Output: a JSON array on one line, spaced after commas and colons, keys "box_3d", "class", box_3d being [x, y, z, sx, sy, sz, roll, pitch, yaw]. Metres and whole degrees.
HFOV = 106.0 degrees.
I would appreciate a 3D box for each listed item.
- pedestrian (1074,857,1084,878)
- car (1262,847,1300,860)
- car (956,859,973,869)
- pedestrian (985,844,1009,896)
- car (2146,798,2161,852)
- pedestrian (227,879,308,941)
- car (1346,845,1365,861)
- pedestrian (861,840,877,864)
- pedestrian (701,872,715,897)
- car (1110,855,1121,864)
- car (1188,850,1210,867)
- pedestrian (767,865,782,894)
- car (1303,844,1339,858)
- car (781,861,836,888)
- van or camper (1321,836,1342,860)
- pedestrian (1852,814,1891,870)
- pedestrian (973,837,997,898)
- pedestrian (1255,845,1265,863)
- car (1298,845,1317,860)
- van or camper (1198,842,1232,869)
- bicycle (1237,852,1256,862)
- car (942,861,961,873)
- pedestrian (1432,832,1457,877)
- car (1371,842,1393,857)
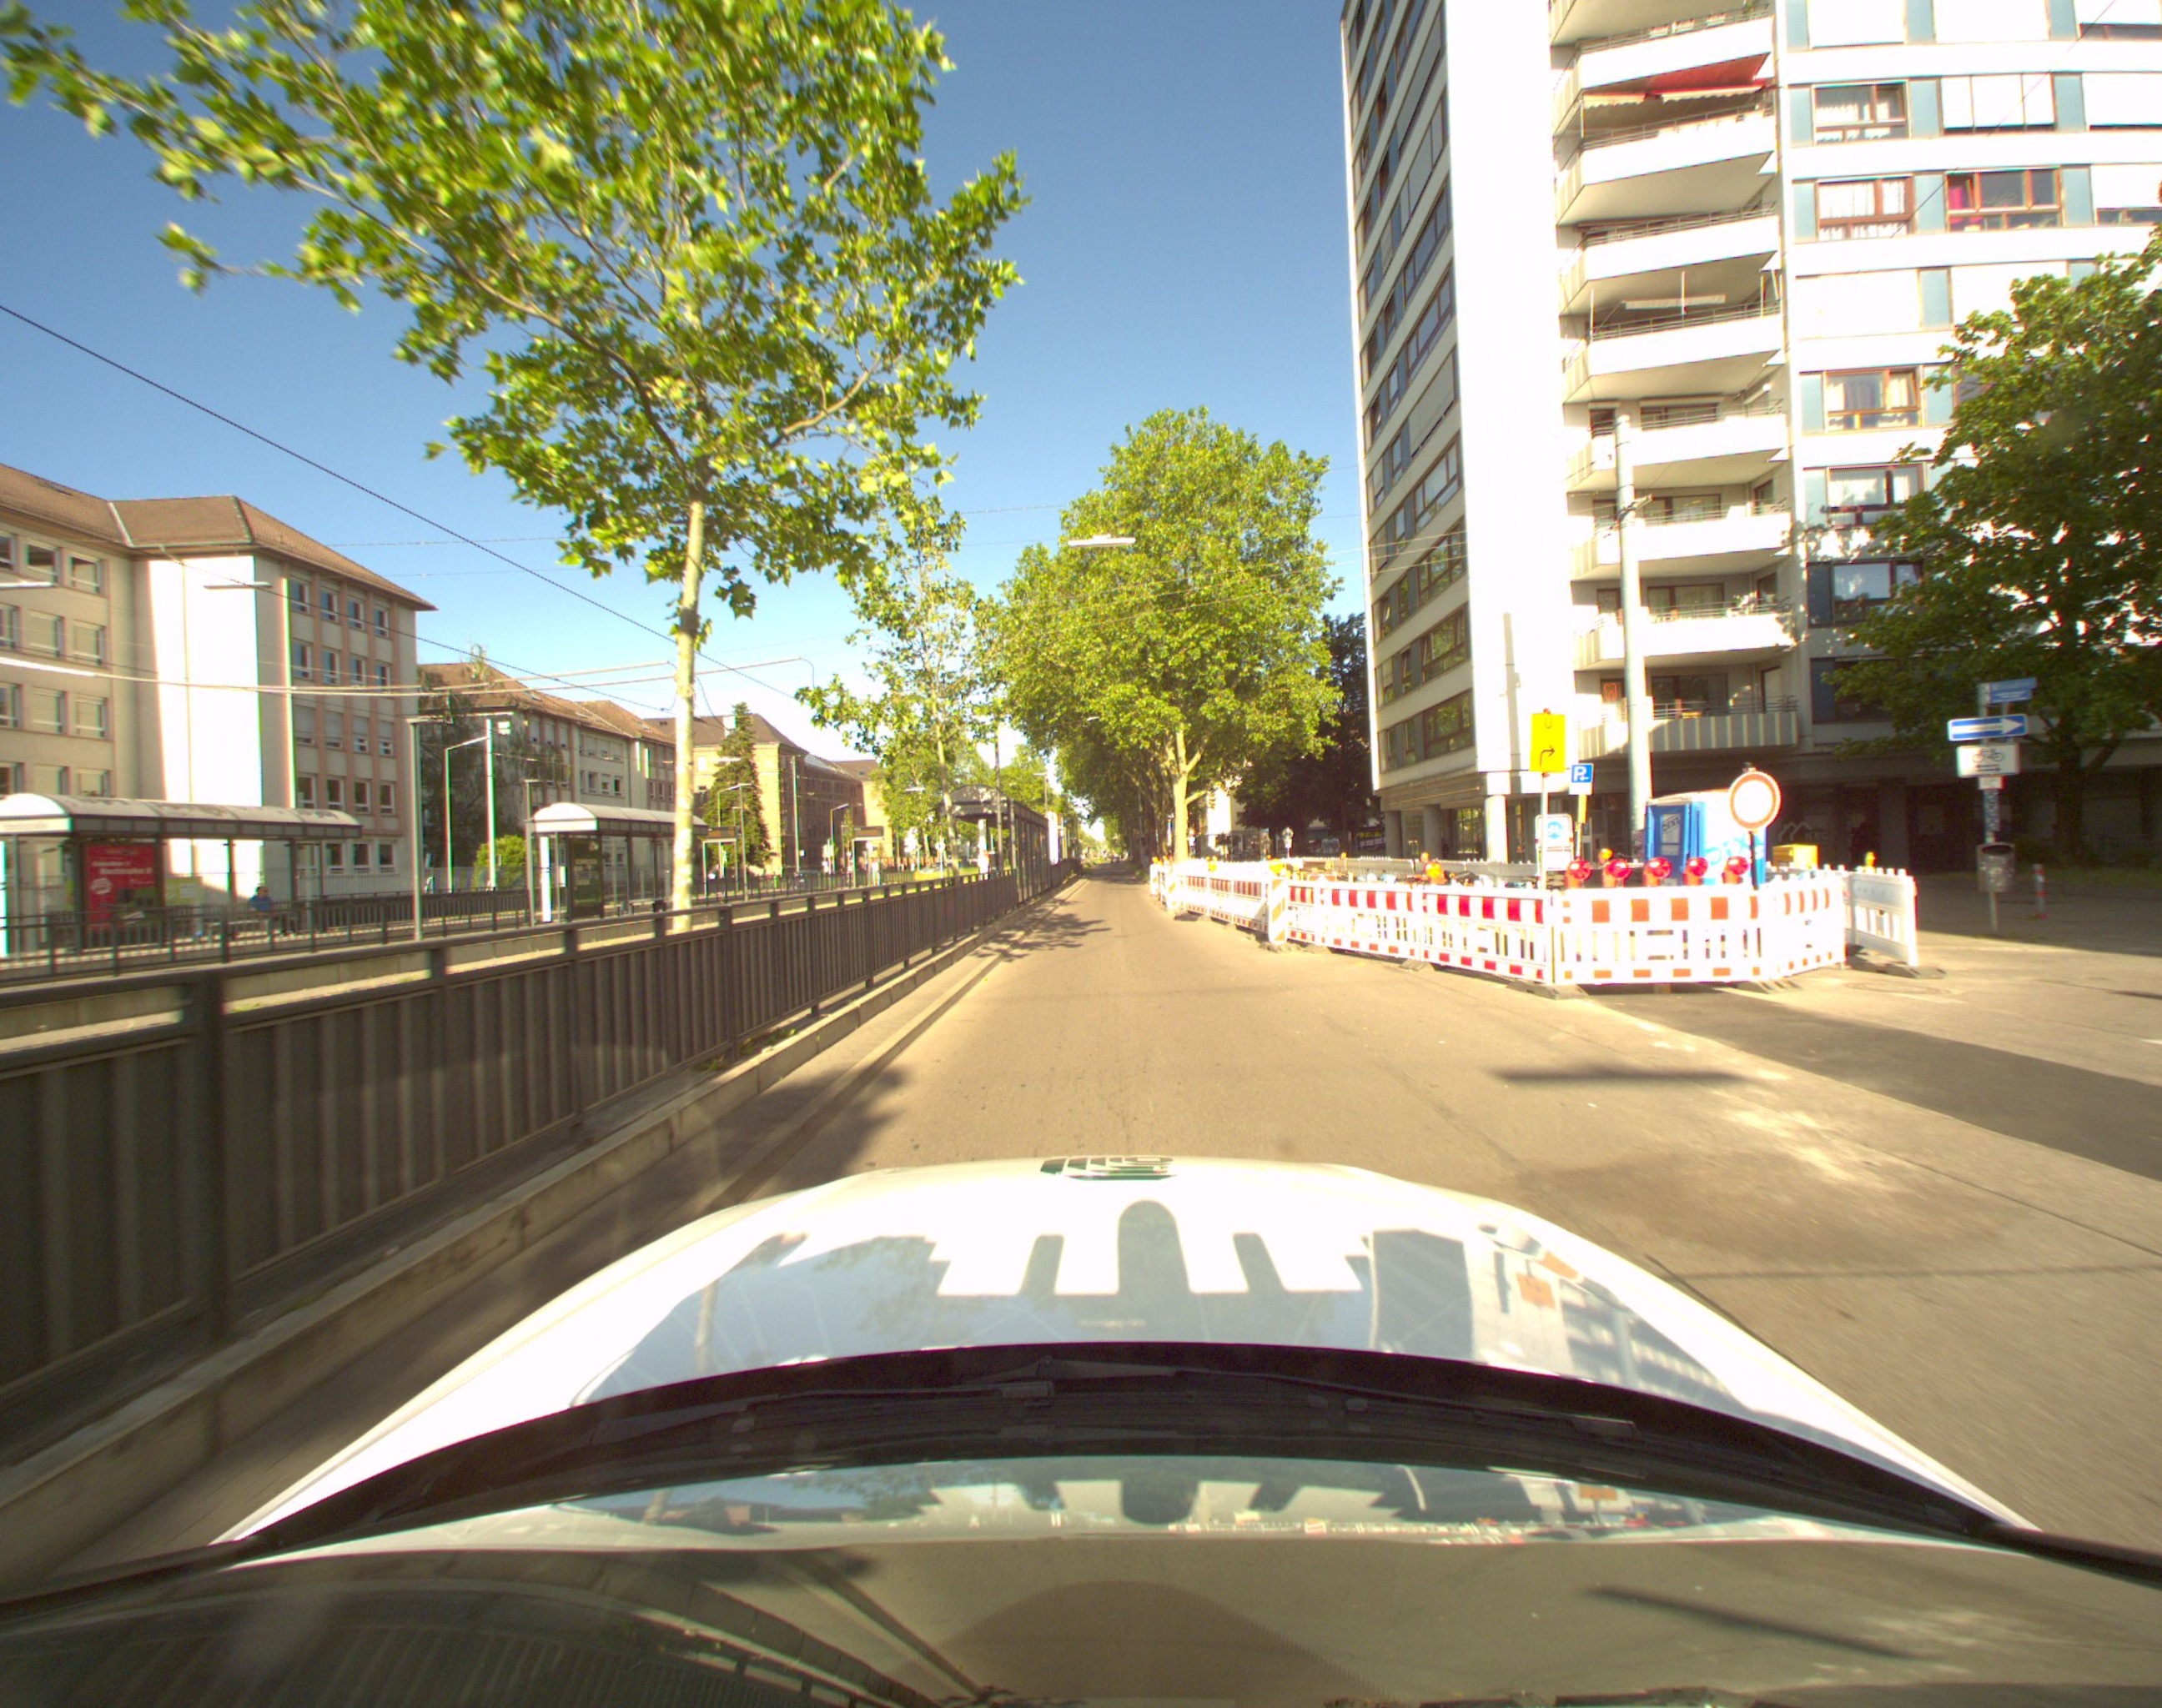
[{"box_3d": [-0.180, 1.112, 66.388, 0.709, 1.680, 0.772, -2, 0, 1], "class": "pedestrian"}, {"box_3d": [26.221, -0.050, 106.763, 4.550, 1.581, 2.009, -2, 0, 17], "class": "car"}, {"box_3d": [-20.525, 1.742, 143.981, 1.759, 1.719, 4.428, -3, 0, 7], "class": "car"}, {"box_3d": [-2.951, 0.558, 28.818, 0.679, 1.784, 0.755, -2, 0, 3], "class": "pedestrian"}, {"box_3d": [33.975, -0.931, 22.904, 2.141, 1.637, 4.496, -2, 0, 0], "class": "car"}, {"box_3d": [-19.192, 1.311, 19.232, 0.971, 1.376, 0.879, -2, 0, 1], "class": "pedestrian"}, {"box_3d": [31.632, -0.121, 93.963, 1.978, 1.669, 4.766, -2, 0, 17], "class": "car"}, {"box_3d": [-16.004, -0.131, 61.553, 0.948, 1.736, 0.731, -2, 0, 4], "class": "pedestrian"}, {"box_3d": [-27.468, 2.234, 60.007, 0.690, 1.837, 0.573, -2, 0, 1], "class": "pedestrian"}, {"box_3d": [7.055, 1.104, 166.565, 2.014, 1.662, 4.002, -2, 0, 2], "class": "car"}, {"box_3d": [13.016, 0.446, 90.006, 1.812, 1.742, 5.170, -2, 0, 2], "class": "car"}, {"box_3d": [-22.209, 1.837, 58.961, 0.660, 2.013, 0.861, -2, 0, 1], "class": "pedestrian"}, {"box_3d": [31.014, -0.392, 105.131, 4.346, 1.644, 2.009, -2, 0, 18], "class": "car"}, {"box_3d": [-18.725, 1.369, 56.126, 1.983, 1.707, 4.156, -2, 0, 6], "class": "car"}, {"box_3d": [29.110, -0.743, 94.682, 2.130, 2.636, 5.614, -2, 0, 18], "class": "van or camper"}, {"box_3d": [26.538, -0.395, 27.345, 0.652, 1.854, 0.679, 0, -1, 4], "class": "pedestrian"}, {"box_3d": [-3.223, 0.446, 27.396, 0.665, 2.013, 0.716, -2, 0, 1], "class": "pedestrian"}, {"box_3d": [16.337, 0.003, 74.384, 0.729, 1.616, 1.036, -2, 0, 2], "class": "pedestrian"}, {"box_3d": [26.547, -0.193, 95.241, 1.978, 1.628, 4.410, -2, 0, 17], "class": "car"}, {"box_3d": [12.178, 0.117, 74.480, 2.282, 2.286, 5.825, -2, 0, 2], "class": "van or camper"}, {"box_3d": [19.970, 0.343, 98.179, 2.118, 1.103, 0.511, -3, 0, 27], "class": "bicycle"}, {"box_3d": [-21.147, 2.090, 133.332, 1.985, 1.649, 4.831, -2, 0, 3], "class": "car"}, {"box_3d": [14.977, 0.031, 33.544, 0.687, 1.815, 0.666, -2, 0, 2], "class": "pedestrian"}, {"box_3d": [34.439, -0.519, 93.300, 1.978, 1.669, 4.766, -2, 0, 17], "class": "car"}]
